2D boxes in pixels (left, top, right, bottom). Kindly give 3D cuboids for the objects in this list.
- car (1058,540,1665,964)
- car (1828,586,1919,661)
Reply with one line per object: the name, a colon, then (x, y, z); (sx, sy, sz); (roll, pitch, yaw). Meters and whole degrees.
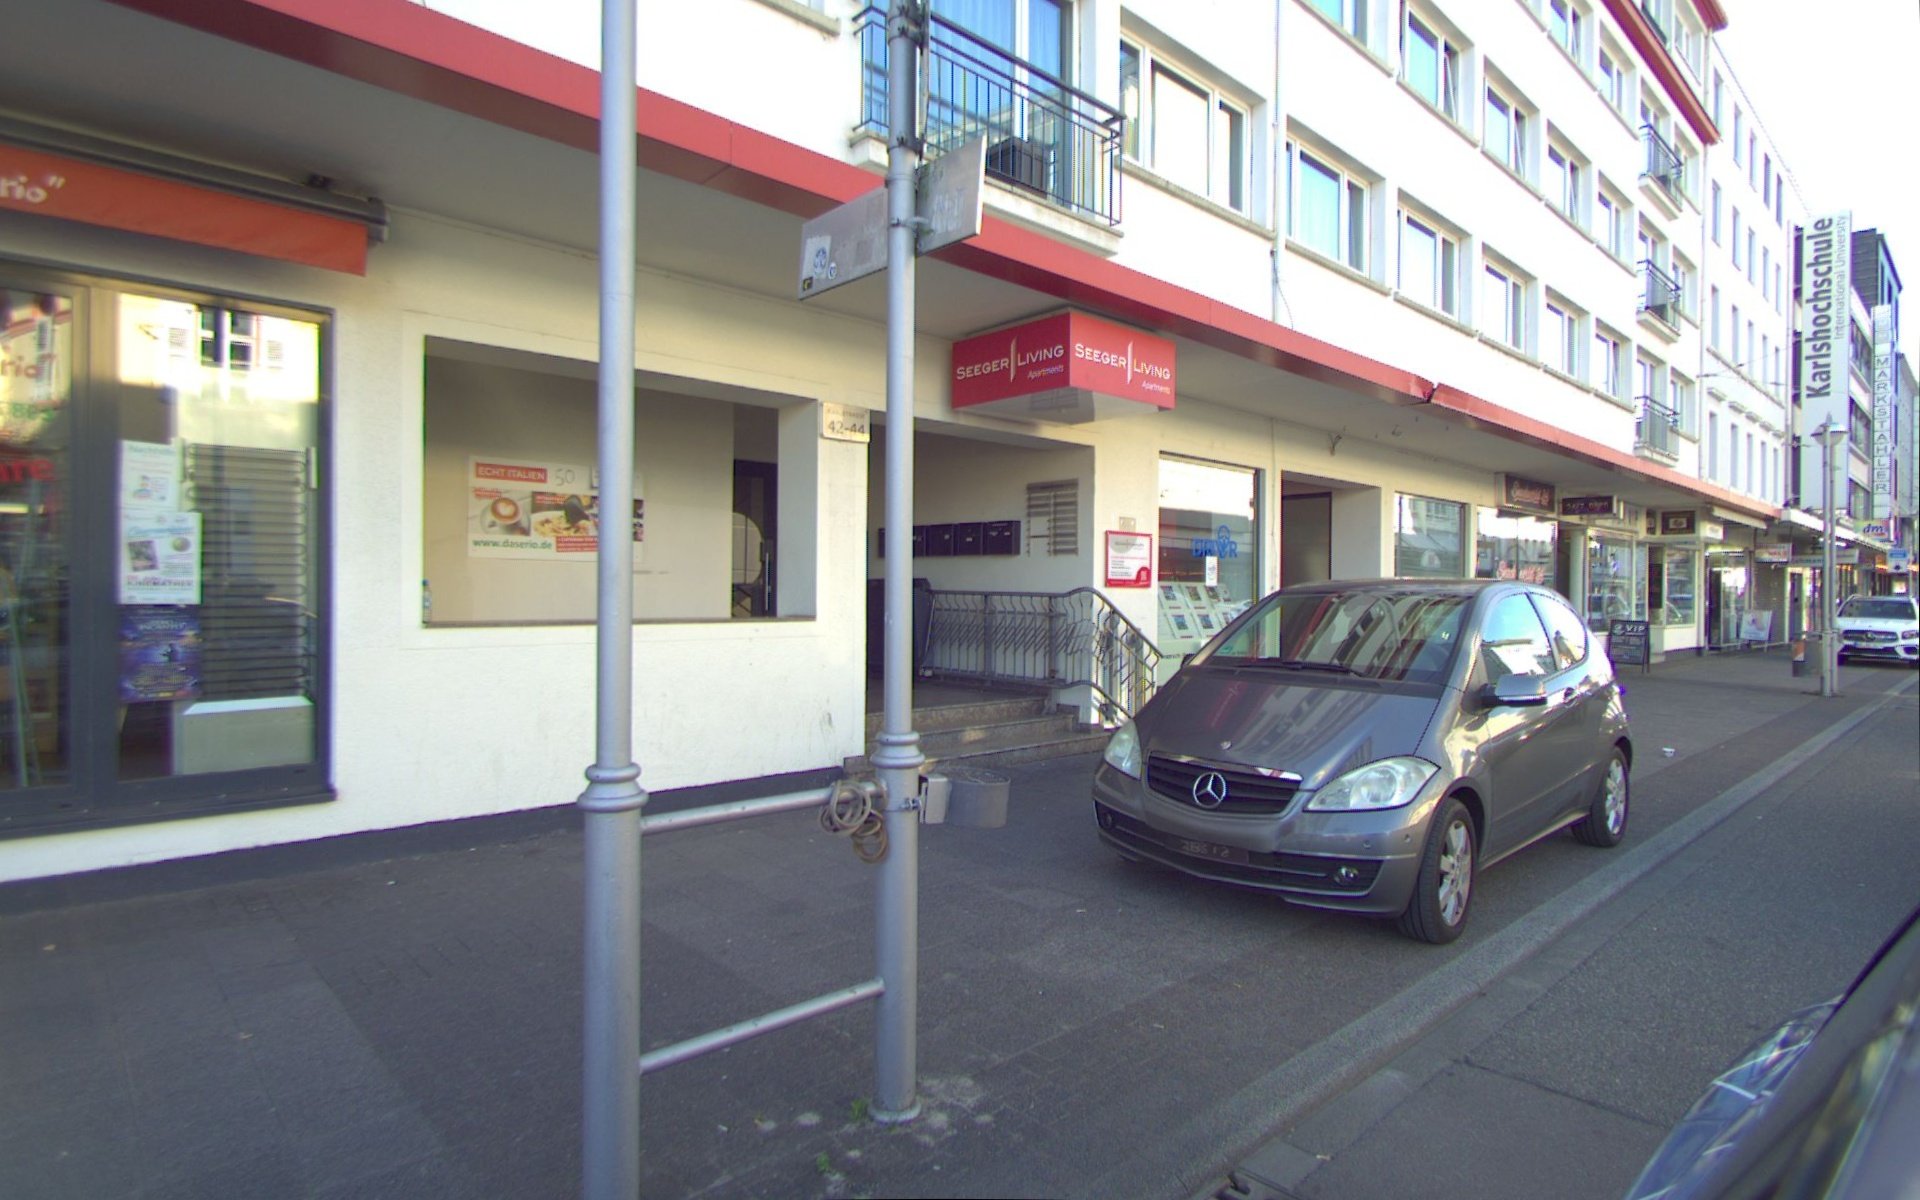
car: (2.482, 0.562, 5.711); (3.932, 1.565, 1.681); (0, 0, -43)
car: (22.387, 0.516, 24.354); (1.994, 1.650, 3.935); (1, 1, 45)
